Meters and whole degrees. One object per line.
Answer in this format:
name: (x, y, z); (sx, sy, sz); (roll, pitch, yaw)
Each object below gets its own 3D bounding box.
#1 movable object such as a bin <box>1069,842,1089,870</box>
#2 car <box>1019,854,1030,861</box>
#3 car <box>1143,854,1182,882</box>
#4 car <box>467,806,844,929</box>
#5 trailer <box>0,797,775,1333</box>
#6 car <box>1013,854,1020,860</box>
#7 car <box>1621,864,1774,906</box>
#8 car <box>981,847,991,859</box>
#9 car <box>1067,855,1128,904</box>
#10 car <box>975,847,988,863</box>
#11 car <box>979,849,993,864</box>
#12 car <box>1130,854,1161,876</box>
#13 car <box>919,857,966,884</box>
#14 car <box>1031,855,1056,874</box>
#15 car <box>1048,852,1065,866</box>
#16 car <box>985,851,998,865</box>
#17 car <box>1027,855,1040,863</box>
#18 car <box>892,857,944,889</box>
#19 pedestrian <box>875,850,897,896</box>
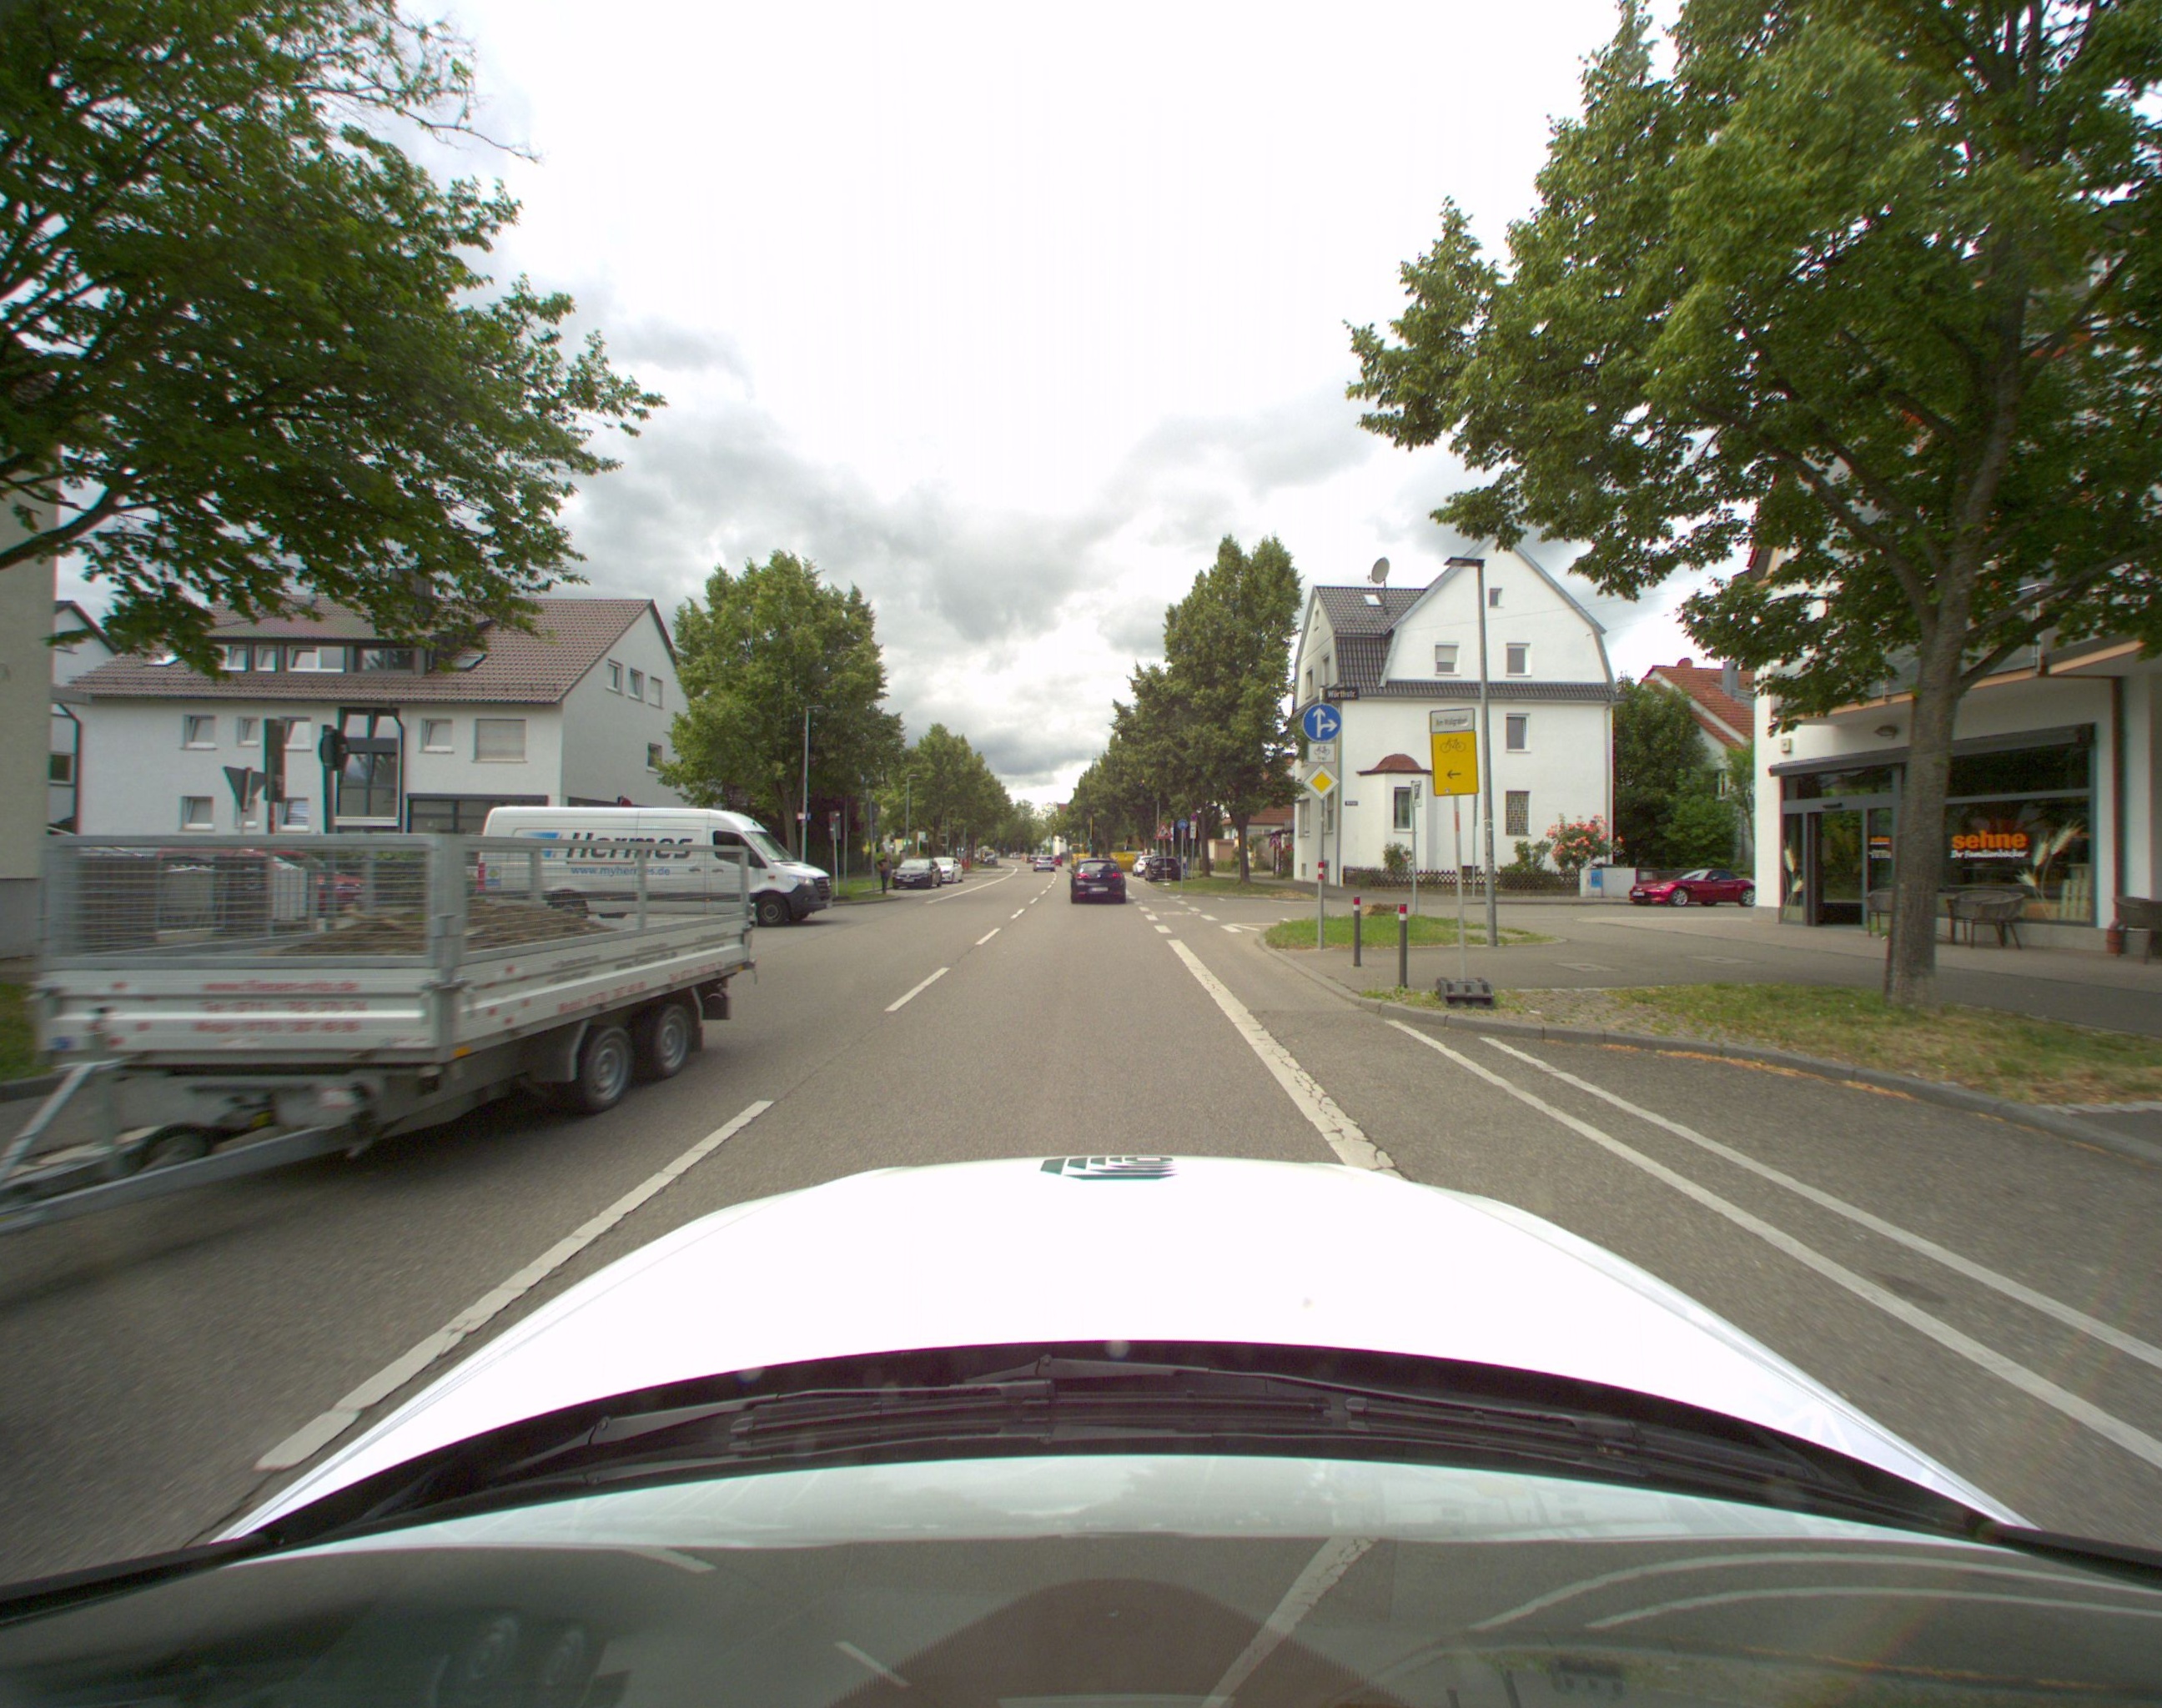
movable object such as a bin: (-0.198, 0.198, 77.949); (1.763, 2.574, 3.737); (0, 0, -2)
car: (-11.132, 0.651, 159.521); (1.810, 1.415, 3.679); (0, 0, -11)
car: (4.561, 0.751, 46.244); (1.700, 1.454, 4.615); (0, 0, 0)
car: (-9.328, 0.277, 18.447); (7.272, 2.594, 2.218); (0, 0, -3)
trailer: (-3.719, 0.661, 4.895); (1.931, 1.677, 4.688); (0, 0, 1)
car: (-15.902, 0.754, 200.860); (1.807, 1.415, 3.686); (0, 0, -5)
car: (19.706, 0.984, 26.135); (3.687, 1.230, 1.745); (1, 0, -3)
car: (-22.775, -0.234, 195.350); (2.286, 2.792, 7.126); (-1, 0, -7)
car: (0.470, 0.783, 26.805); (1.814, 1.437, 3.737); (-1, 0, -2)
car: (-16.758, 0.174, 137.357); (2.091, 2.626, 5.031); (0, 0, -8)
car: (-14.851, 0.367, 127.089); (2.091, 2.175, 5.031); (0, 0, -8)
car: (4.376, 0.715, 56.020); (1.668, 1.462, 3.997); (0, 0, -2)
car: (-7.580, 0.868, 45.048); (1.707, 1.406, 4.302); (0, 0, 2)
car: (-3.373, 0.906, 73.297); (1.905, 1.685, 3.729); (-1, 0, -8)
car: (-3.077, 0.632, 101.851); (1.789, 1.623, 3.730); (-1, 0, -7)
car: (-11.541, 0.496, 105.061); (1.666, 1.772, 4.457); (-1, 0, -7)
car: (-7.699, 0.799, 131.572); (1.810, 1.375, 3.680); (0, 0, -10)
car: (-7.609, 0.854, 38.404); (1.638, 1.420, 4.019); (-1, 0, 0)
pedestrian: (-7.270, 0.695, 30.368); (0.539, 1.681, 0.752); (1, 1, 9)
